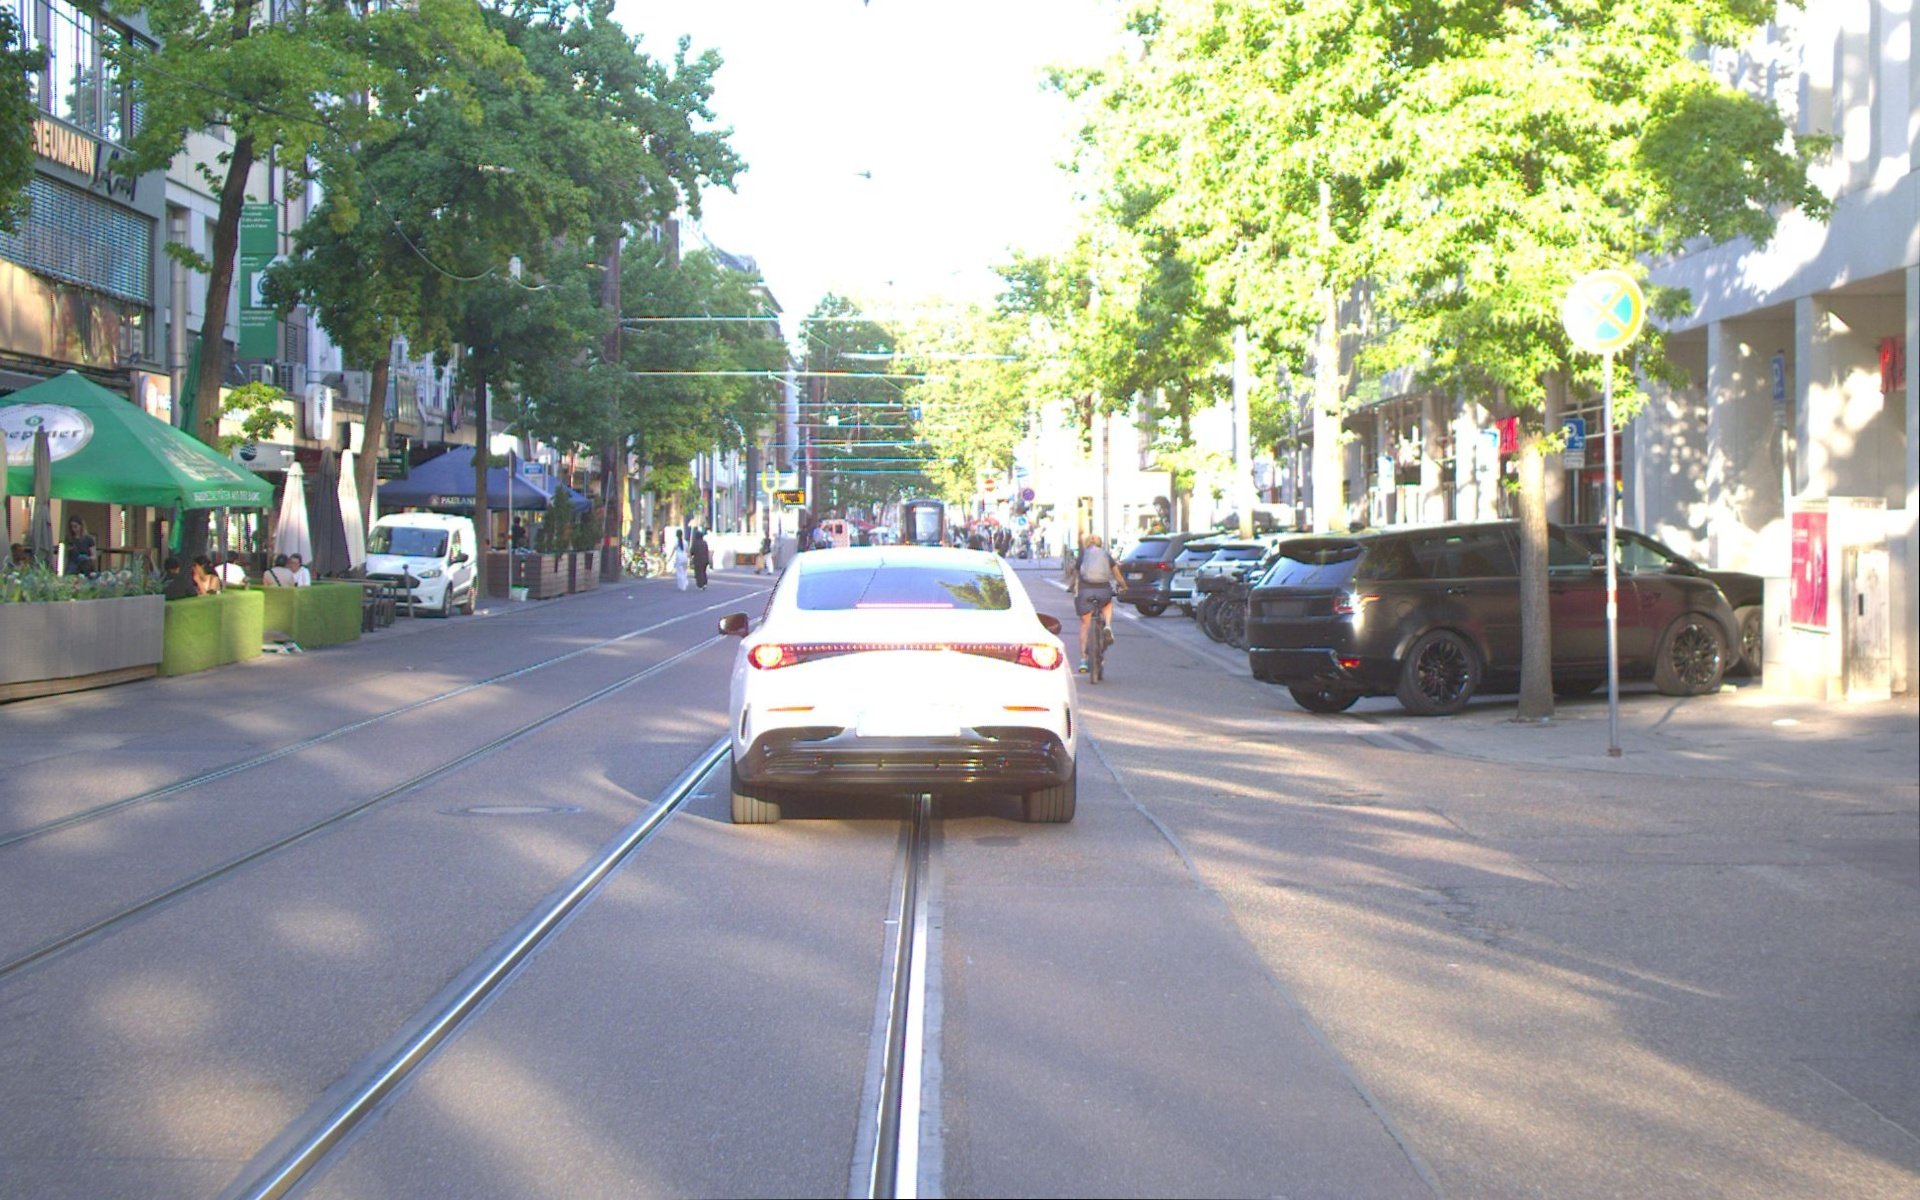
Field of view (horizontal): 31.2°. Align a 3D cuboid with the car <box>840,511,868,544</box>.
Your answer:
[{"bbox_3d":[-7.934,-5.445,257.221,1.910,2.452,5.275,0,1,0],"label":"car"}]

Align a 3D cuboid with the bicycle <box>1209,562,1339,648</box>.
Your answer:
[{"bbox_3d":[4.388,0.064,48.098,1.558,1.084,0.869,-4,3,-30],"label":"bicycle"}]

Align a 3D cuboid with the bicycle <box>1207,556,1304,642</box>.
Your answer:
[{"bbox_3d":[4.331,-0.025,50.344,0.481,1.159,1.691,-2,1,40],"label":"bicycle"}]

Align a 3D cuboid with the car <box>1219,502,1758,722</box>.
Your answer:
[{"bbox_3d":[4.941,0.071,31.986,4.651,1.757,1.995,-3,1,-29],"label":"car"}]

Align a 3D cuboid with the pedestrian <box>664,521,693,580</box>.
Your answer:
[{"bbox_3d":[-7.295,-1.282,89.212,0.622,1.504,0.833,2,1,0],"label":"pedestrian"}]

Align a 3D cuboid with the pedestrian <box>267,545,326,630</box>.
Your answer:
[{"bbox_3d":[-9.664,-0.182,50.079,0.657,1.189,0.798,3,1,-1],"label":"pedestrian"}]

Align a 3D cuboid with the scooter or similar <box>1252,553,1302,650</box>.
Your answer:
[{"bbox_3d":[4.289,0.012,46.538,0.450,1.272,1.307,-4,1,-1],"label":"scooter or similar"}]

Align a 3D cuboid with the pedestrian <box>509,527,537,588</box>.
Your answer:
[{"bbox_3d":[-9.690,-0.944,76.253,0.549,1.352,0.583,1,1,-1],"label":"pedestrian"}]

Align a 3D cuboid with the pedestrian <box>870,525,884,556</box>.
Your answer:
[{"bbox_3d":[-4.887,-3.523,203.064,0.800,1.776,0.849,2,1,-1],"label":"pedestrian"}]

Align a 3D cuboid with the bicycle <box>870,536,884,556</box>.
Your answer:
[{"bbox_3d":[-4.896,-3.215,203.089,0.800,1.138,2.257,2,1,-2],"label":"bicycle"}]

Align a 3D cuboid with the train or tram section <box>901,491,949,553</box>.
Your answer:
[{"bbox_3d":[-2.004,-4.556,200.507,2.694,3.504,12.546,0,1,0],"label":"train or tram section"}]

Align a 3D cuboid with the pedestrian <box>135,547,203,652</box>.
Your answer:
[{"bbox_3d":[-9.689,-0.008,42.136,0.619,1.240,0.697,3,1,-1],"label":"pedestrian"}]

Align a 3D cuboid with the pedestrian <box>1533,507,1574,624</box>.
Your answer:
[{"bbox_3d":[8.681,-0.510,50.277,0.517,1.690,0.550,0,1,4],"label":"pedestrian"}]

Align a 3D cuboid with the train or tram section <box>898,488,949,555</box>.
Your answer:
[{"bbox_3d":[-1.962,-4.281,187.955,2.694,3.504,12.546,0,1,0],"label":"train or tram section"}]

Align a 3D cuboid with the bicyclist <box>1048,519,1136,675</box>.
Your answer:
[{"bbox_3d":[1.408,-0.044,36.615,0.778,1.607,0.912,2,1,9],"label":"bicyclist"}]

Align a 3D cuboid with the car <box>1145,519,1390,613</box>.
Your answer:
[{"bbox_3d":[5.792,-0.652,64.592,4.235,1.582,1.884,-3,2,-31],"label":"car"}]

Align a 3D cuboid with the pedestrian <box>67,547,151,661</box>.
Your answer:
[{"bbox_3d":[-9.664,0.034,39.052,0.708,1.255,0.772,2,1,2],"label":"pedestrian"}]

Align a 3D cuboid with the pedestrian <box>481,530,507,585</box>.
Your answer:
[{"bbox_3d":[-10.524,-0.956,77.619,0.494,1.223,0.535,1,1,-1],"label":"pedestrian"}]

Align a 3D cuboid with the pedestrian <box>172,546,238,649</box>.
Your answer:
[{"bbox_3d":[-9.427,-0.038,42.948,0.619,1.240,0.697,3,1,-1],"label":"pedestrian"}]

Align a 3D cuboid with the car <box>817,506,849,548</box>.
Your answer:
[{"bbox_3d":[-8.797,-5.073,238.597,1.993,2.887,5.275,0,1,0],"label":"car"}]

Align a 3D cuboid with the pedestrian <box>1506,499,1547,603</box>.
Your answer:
[{"bbox_3d":[9.670,-0.838,58.714,0.557,1.744,0.525,-2,1,0],"label":"pedestrian"}]

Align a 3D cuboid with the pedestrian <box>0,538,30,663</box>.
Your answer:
[{"bbox_3d":[-10.453,-0.009,36.896,0.689,1.307,0.807,2,1,1],"label":"pedestrian"}]

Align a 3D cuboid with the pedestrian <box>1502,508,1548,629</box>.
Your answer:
[{"bbox_3d":[8.255,-0.464,50.250,0.523,1.744,0.559,-2,1,2],"label":"pedestrian"}]

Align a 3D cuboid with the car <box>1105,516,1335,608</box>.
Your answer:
[{"bbox_3d":[5.192,-0.763,68.543,4.342,1.646,1.695,-3,2,-31],"label":"car"}]

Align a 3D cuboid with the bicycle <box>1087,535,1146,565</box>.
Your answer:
[{"bbox_3d":[5.909,-1.885,129.721,2.113,1.092,0.610,-1,1,-13],"label":"bicycle"}]

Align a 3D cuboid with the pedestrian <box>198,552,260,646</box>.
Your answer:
[{"bbox_3d":[-10.426,-0.014,49.041,0.657,1.289,0.798,3,1,-1],"label":"pedestrian"}]

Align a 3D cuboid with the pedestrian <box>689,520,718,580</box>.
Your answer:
[{"bbox_3d":[-6.726,-1.306,90.191,0.622,1.545,0.852,2,1,0],"label":"pedestrian"}]

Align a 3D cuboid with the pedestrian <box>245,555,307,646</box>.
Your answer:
[{"bbox_3d":[-9.774,0.001,49.128,0.657,1.240,0.873,3,1,-1],"label":"pedestrian"}]

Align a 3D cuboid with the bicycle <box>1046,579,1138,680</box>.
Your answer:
[{"bbox_3d":[1.423,0.300,36.800,0.719,0.992,2.058,2,1,9],"label":"bicycle"}]

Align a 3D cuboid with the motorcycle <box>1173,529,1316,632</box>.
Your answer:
[{"bbox_3d":[4.463,-0.318,53.855,2.313,1.504,0.858,-3,1,-44],"label":"motorcycle"}]

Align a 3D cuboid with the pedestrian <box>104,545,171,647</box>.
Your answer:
[{"bbox_3d":[-10.282,-0.055,43.007,0.619,1.240,0.697,3,1,-1],"label":"pedestrian"}]

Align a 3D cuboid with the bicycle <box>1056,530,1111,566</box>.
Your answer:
[{"bbox_3d":[4.566,-1.921,127.408,1.908,1.277,0.610,-2,1,-11],"label":"bicycle"}]

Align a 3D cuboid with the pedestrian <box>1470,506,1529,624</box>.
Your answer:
[{"bbox_3d":[7.828,-0.511,49.906,0.678,1.690,0.550,0,1,-13],"label":"pedestrian"}]

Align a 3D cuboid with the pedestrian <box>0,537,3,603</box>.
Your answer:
[{"bbox_3d":[-13.591,-0.301,47.100,0.700,1.164,0.788,3,1,-1],"label":"pedestrian"}]

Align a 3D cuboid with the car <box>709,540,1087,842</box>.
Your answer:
[{"bbox_3d":[-0.323,0.419,19.200,1.857,1.450,4.175,1,1,0],"label":"car"}]

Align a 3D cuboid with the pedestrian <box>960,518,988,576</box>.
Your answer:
[{"bbox_3d":[0.446,-1.667,108.618,0.841,1.795,0.790,2,1,1],"label":"pedestrian"}]

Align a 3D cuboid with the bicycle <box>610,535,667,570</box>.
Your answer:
[{"bbox_3d":[-10.231,-1.526,109.466,1.788,1.073,0.377,1,1,-4],"label":"bicycle"}]

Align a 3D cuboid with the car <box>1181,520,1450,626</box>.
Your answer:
[{"bbox_3d":[5.914,-0.467,57.059,4.147,1.566,1.854,-3,2,-33],"label":"car"}]

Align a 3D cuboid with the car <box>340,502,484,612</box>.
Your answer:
[{"bbox_3d":[-9.997,-0.817,63.010,1.795,1.858,4.554,3,1,1],"label":"car"}]

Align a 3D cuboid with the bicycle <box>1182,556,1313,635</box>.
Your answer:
[{"bbox_3d":[4.373,-0.072,52.292,1.890,1.116,0.667,-3,1,-29],"label":"bicycle"}]

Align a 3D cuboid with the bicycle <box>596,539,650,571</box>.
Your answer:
[{"bbox_3d":[-10.437,-1.400,106.525,1.596,0.927,0.377,2,1,7],"label":"bicycle"}]

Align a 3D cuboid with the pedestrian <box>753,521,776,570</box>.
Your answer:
[{"bbox_3d":[-7.229,-2.004,126.919,0.788,1.795,0.844,0,1,1],"label":"pedestrian"}]

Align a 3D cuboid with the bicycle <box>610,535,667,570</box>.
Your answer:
[{"bbox_3d":[-10.272,-1.532,109.910,1.788,1.073,0.377,1,1,-4],"label":"bicycle"}]
